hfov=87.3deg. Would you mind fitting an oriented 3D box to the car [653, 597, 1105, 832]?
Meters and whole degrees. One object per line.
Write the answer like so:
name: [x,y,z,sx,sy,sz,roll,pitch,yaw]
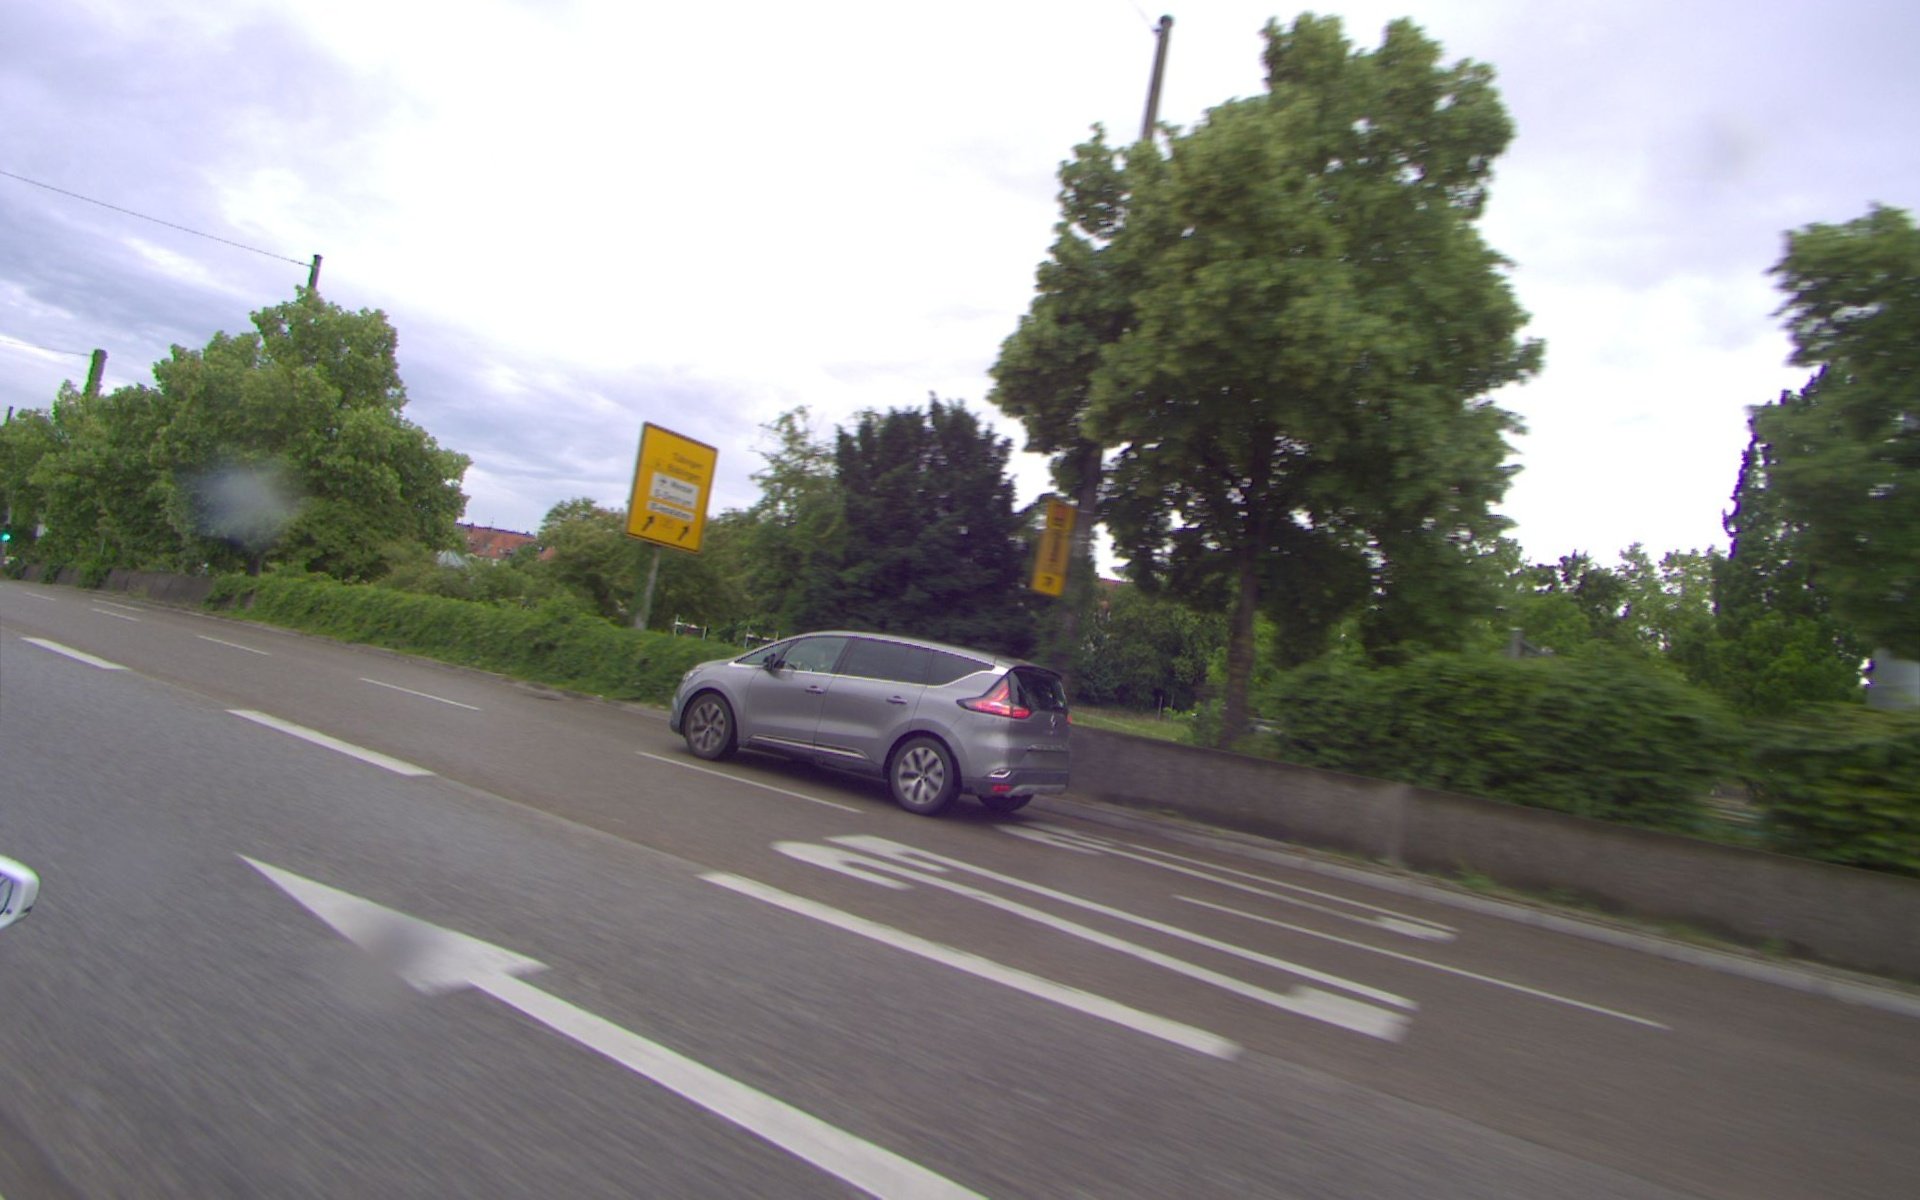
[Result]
car: [-0.968,1.152,10.910,4.548,1.665,1.732,7,-5,32]
